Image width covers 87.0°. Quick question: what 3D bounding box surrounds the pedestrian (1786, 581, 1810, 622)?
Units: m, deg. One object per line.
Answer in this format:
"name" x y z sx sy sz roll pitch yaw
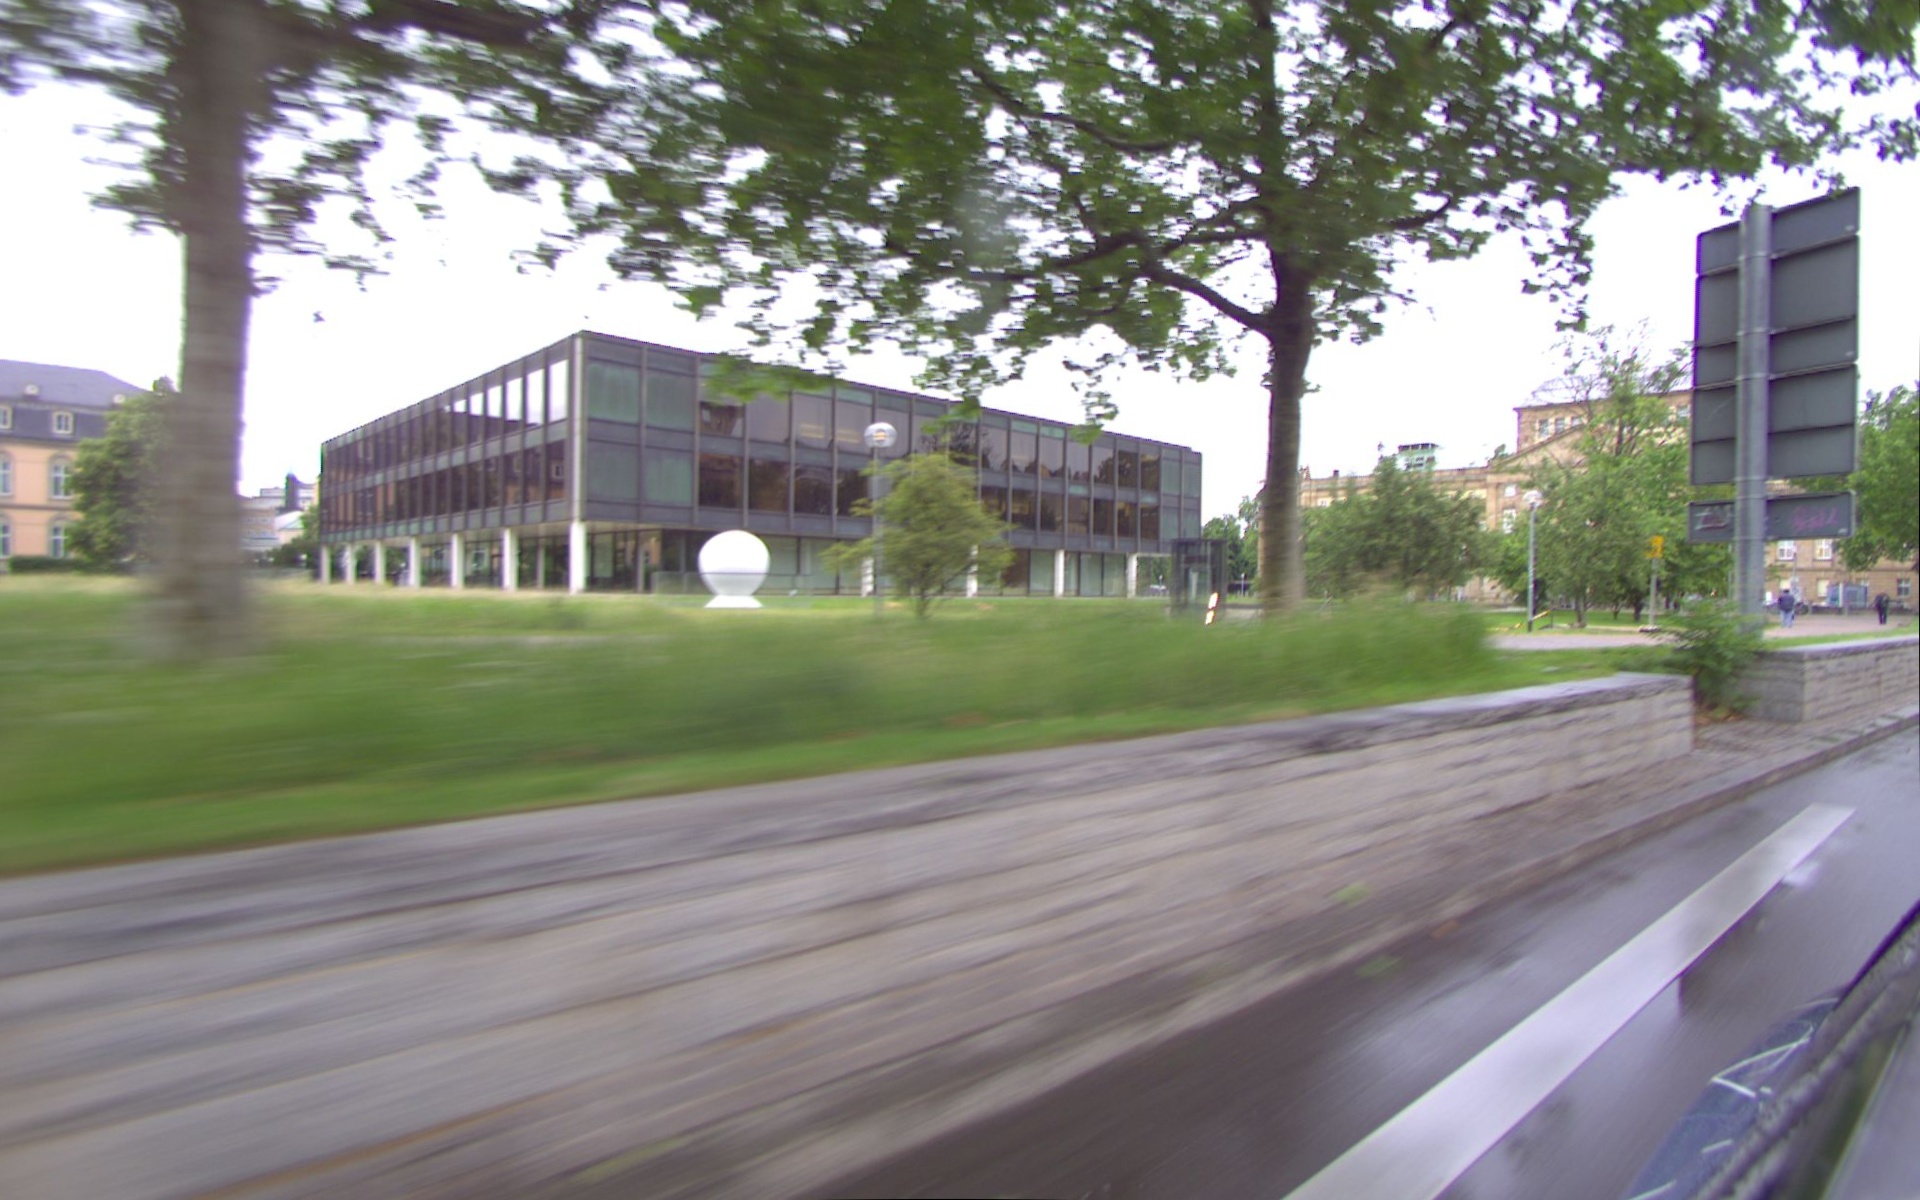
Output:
"pedestrian" 35.217 0.059 42.526 0.665 1.686 0.582 1 1 32

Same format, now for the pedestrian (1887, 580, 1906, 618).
"pedestrian" 45.154 -0.043 48.812 0.577 1.796 0.594 0 -1 -40

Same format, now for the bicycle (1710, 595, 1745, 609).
"bicycle" 45.983 0.088 60.624 1.611 0.806 0.505 1 0 29

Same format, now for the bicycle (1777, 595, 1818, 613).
"bicycle" 50.165 0.245 60.666 1.741 1.079 0.820 -1 0 29
